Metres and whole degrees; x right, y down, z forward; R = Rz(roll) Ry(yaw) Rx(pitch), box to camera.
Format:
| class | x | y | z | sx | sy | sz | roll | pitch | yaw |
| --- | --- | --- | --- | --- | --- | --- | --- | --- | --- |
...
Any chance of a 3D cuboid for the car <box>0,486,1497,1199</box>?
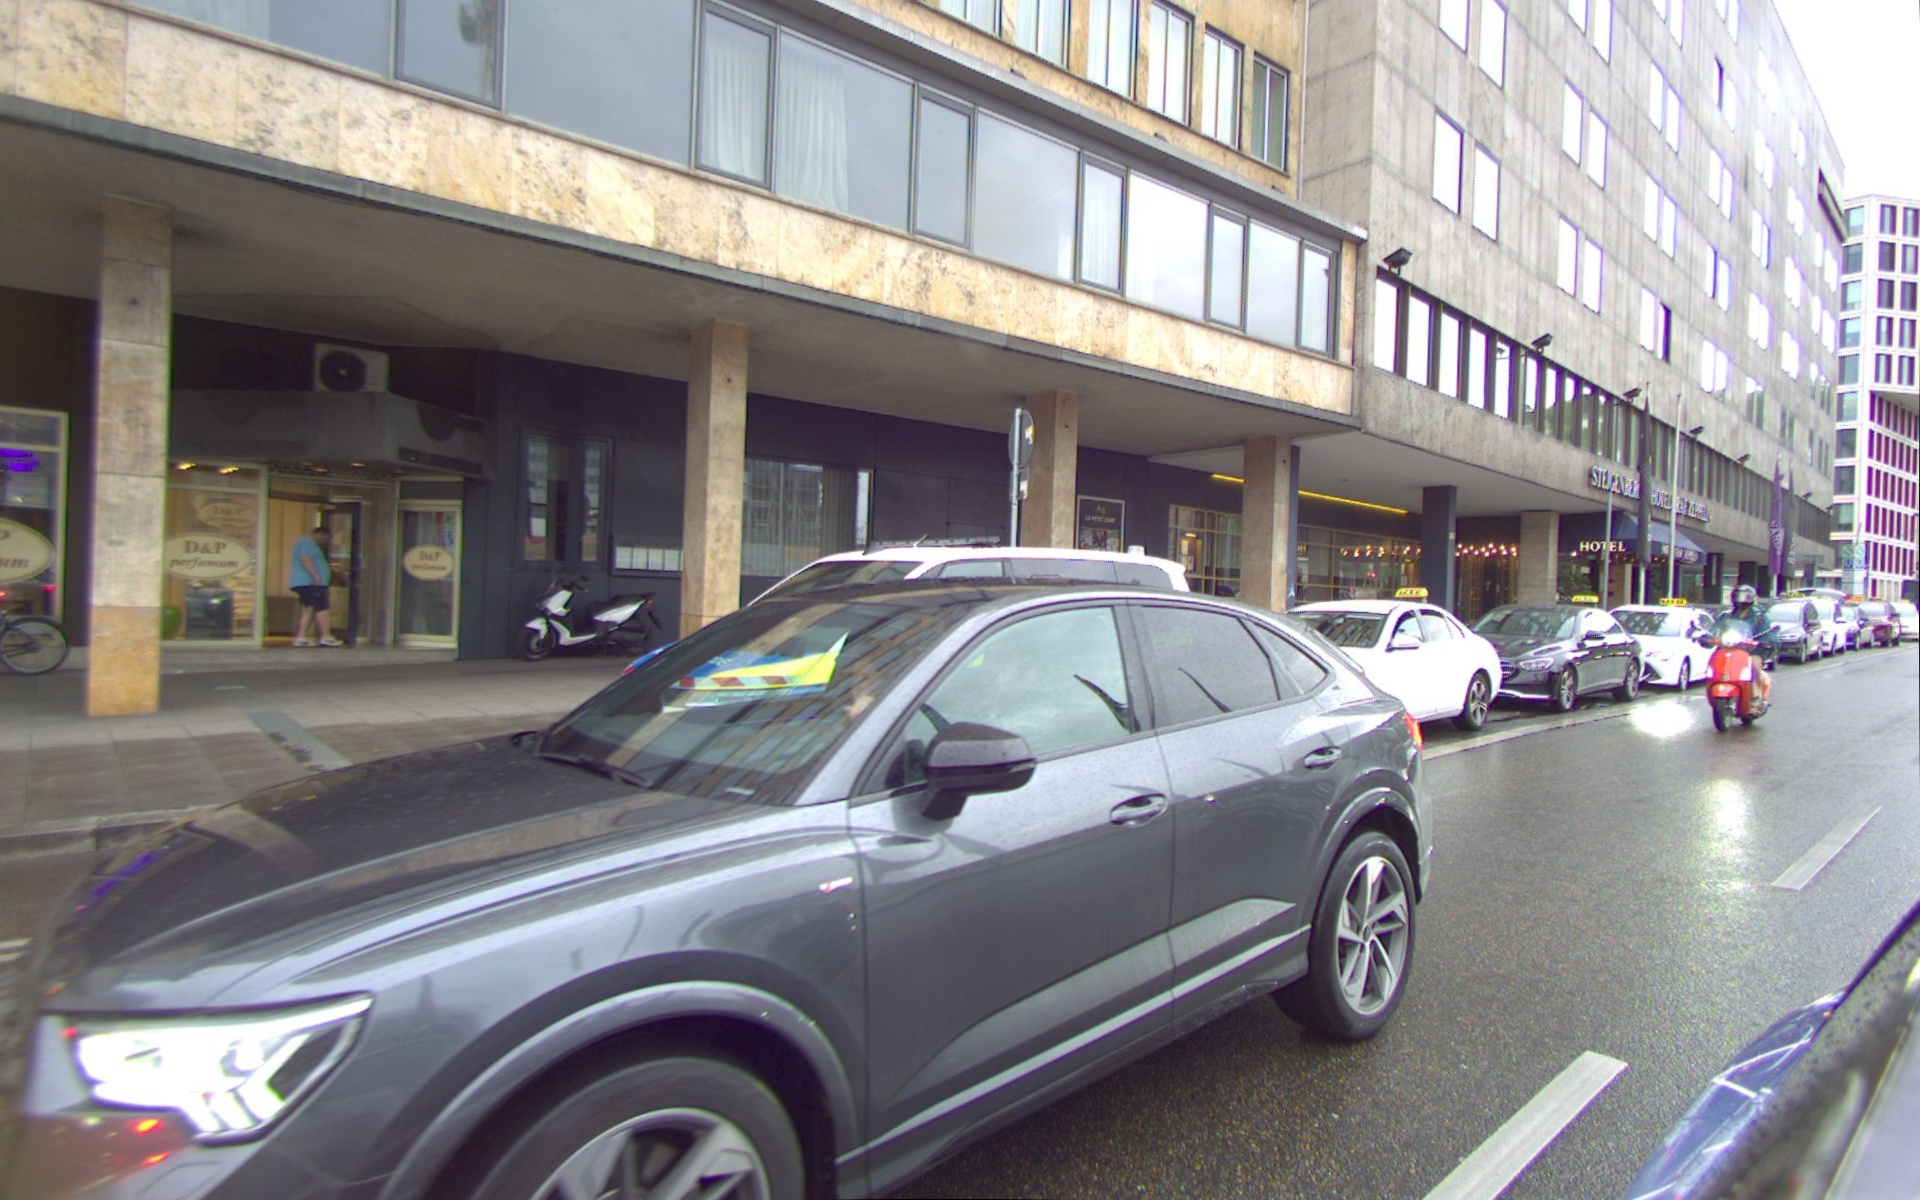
| class | x | y | z | sx | sy | sz | roll | pitch | yaw |
| --- | --- | --- | --- | --- | --- | --- | --- | --- | --- |
| car | -0.137 | 0.610 | 3.263 | 4.266 | 1.520 | 1.882 | 0 | 0 | -41 |

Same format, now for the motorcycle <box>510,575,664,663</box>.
| class | x | y | z | sx | sy | sz | roll | pitch | yaw |
| --- | --- | --- | --- | --- | --- | --- | --- | --- | --- |
| motorcycle | -5.487 | 0.258 | 14.960 | 2.063 | 1.233 | 0.569 | 0 | 0 | -33 |

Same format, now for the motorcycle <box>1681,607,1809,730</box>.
| class | x | y | z | sx | sy | sz | roll | pitch | yaw |
| --- | --- | --- | --- | --- | --- | --- | --- | --- | --- |
| motorcycle | 9.415 | 0.758 | 12.110 | 1.931 | 1.323 | 0.848 | 0 | 0 | -41 |

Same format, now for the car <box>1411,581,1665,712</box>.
| class | x | y | z | sx | sy | sz | roll | pitch | yaw |
| --- | --- | --- | --- | --- | --- | --- | --- | --- | --- |
| car | 8.758 | 0.570 | 15.148 | 4.731 | 1.658 | 1.877 | 0 | 0 | -41 |

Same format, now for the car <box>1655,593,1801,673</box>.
| class | x | y | z | sx | sy | sz | roll | pitch | yaw |
| --- | --- | --- | --- | --- | --- | --- | --- | --- | --- |
| car | 17.396 | 0.655 | 22.836 | 4.731 | 1.612 | 1.729 | 0 | 0 | -41 |

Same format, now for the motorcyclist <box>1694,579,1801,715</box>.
| class | x | y | z | sx | sy | sz | roll | pitch | yaw |
| --- | --- | --- | --- | --- | --- | --- | --- | --- | --- |
| motorcyclist | 9.445 | 0.530 | 12.142 | 0.829 | 1.547 | 0.860 | 0 | 0 | -40 |

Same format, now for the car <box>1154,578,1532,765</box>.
| class | x | y | z | sx | sy | sz | roll | pitch | yaw |
| --- | --- | --- | --- | --- | --- | --- | --- | --- | --- |
| car | 4.455 | 0.610 | 11.323 | 4.924 | 1.658 | 1.877 | 0 | 0 | -41 |

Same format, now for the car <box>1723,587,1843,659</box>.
| class | x | y | z | sx | sy | sz | roll | pitch | yaw |
| --- | --- | --- | --- | --- | --- | --- | --- | --- | --- |
| car | 21.916 | 0.536 | 26.883 | 4.731 | 1.764 | 1.729 | 0 | 0 | -41 |

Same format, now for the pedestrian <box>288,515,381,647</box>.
| class | x | y | z | sx | sy | sz | roll | pitch | yaw |
| --- | --- | --- | --- | --- | --- | --- | --- | --- | --- |
| pedestrian | -8.986 | -0.268 | 14.540 | 1.114 | 1.813 | 0.801 | 0 | 0 | -33 |

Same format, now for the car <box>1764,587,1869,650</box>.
| class | x | y | z | sx | sy | sz | roll | pitch | yaw |
| --- | --- | --- | --- | --- | --- | --- | --- | --- | --- |
| car | 25.699 | 0.500 | 30.316 | 4.731 | 1.764 | 1.729 | 0 | 0 | -41 |

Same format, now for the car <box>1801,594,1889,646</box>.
| class | x | y | z | sx | sy | sz | roll | pitch | yaw |
| --- | --- | --- | --- | --- | --- | --- | --- | --- | --- |
| car | 29.707 | 0.615 | 33.953 | 3.932 | 1.634 | 1.729 | 0 | 0 | -41 |

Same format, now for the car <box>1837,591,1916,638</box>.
| class | x | y | z | sx | sy | sz | roll | pitch | yaw |
| --- | --- | --- | --- | --- | --- | --- | --- | --- | --- |
| car | 33.669 | 0.478 | 37.152 | 3.932 | 1.634 | 1.729 | 0 | 0 | -41 |

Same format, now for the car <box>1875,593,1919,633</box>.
| class | x | y | z | sx | sy | sz | roll | pitch | yaw |
| --- | --- | --- | --- | --- | --- | --- | --- | --- | --- |
| car | 41.206 | 0.541 | 43.939 | 3.932 | 1.634 | 1.729 | 0 | 0 | -41 |

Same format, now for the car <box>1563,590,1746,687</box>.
| class | x | y | z | sx | sy | sz | roll | pitch | yaw |
| --- | --- | --- | --- | --- | --- | --- | --- | --- | --- |
| car | 13.139 | 0.617 | 19.024 | 4.731 | 1.612 | 1.729 | 0 | 0 | -41 |

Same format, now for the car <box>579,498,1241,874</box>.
| class | x | y | z | sx | sy | sz | roll | pitch | yaw |
| --- | --- | --- | --- | --- | --- | --- | --- | --- | --- |
| car | -0.086 | 0.425 | 7.564 | 4.850 | 1.944 | 1.877 | 0 | 0 | -41 |

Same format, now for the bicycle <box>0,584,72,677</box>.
| class | x | y | z | sx | sy | sz | roll | pitch | yaw |
| --- | --- | --- | --- | --- | --- | --- | --- | --- | --- |
| bicycle | -11.645 | 0.353 | 11.412 | 2.428 | 1.059 | 0.657 | 0 | 0 | -41 |
